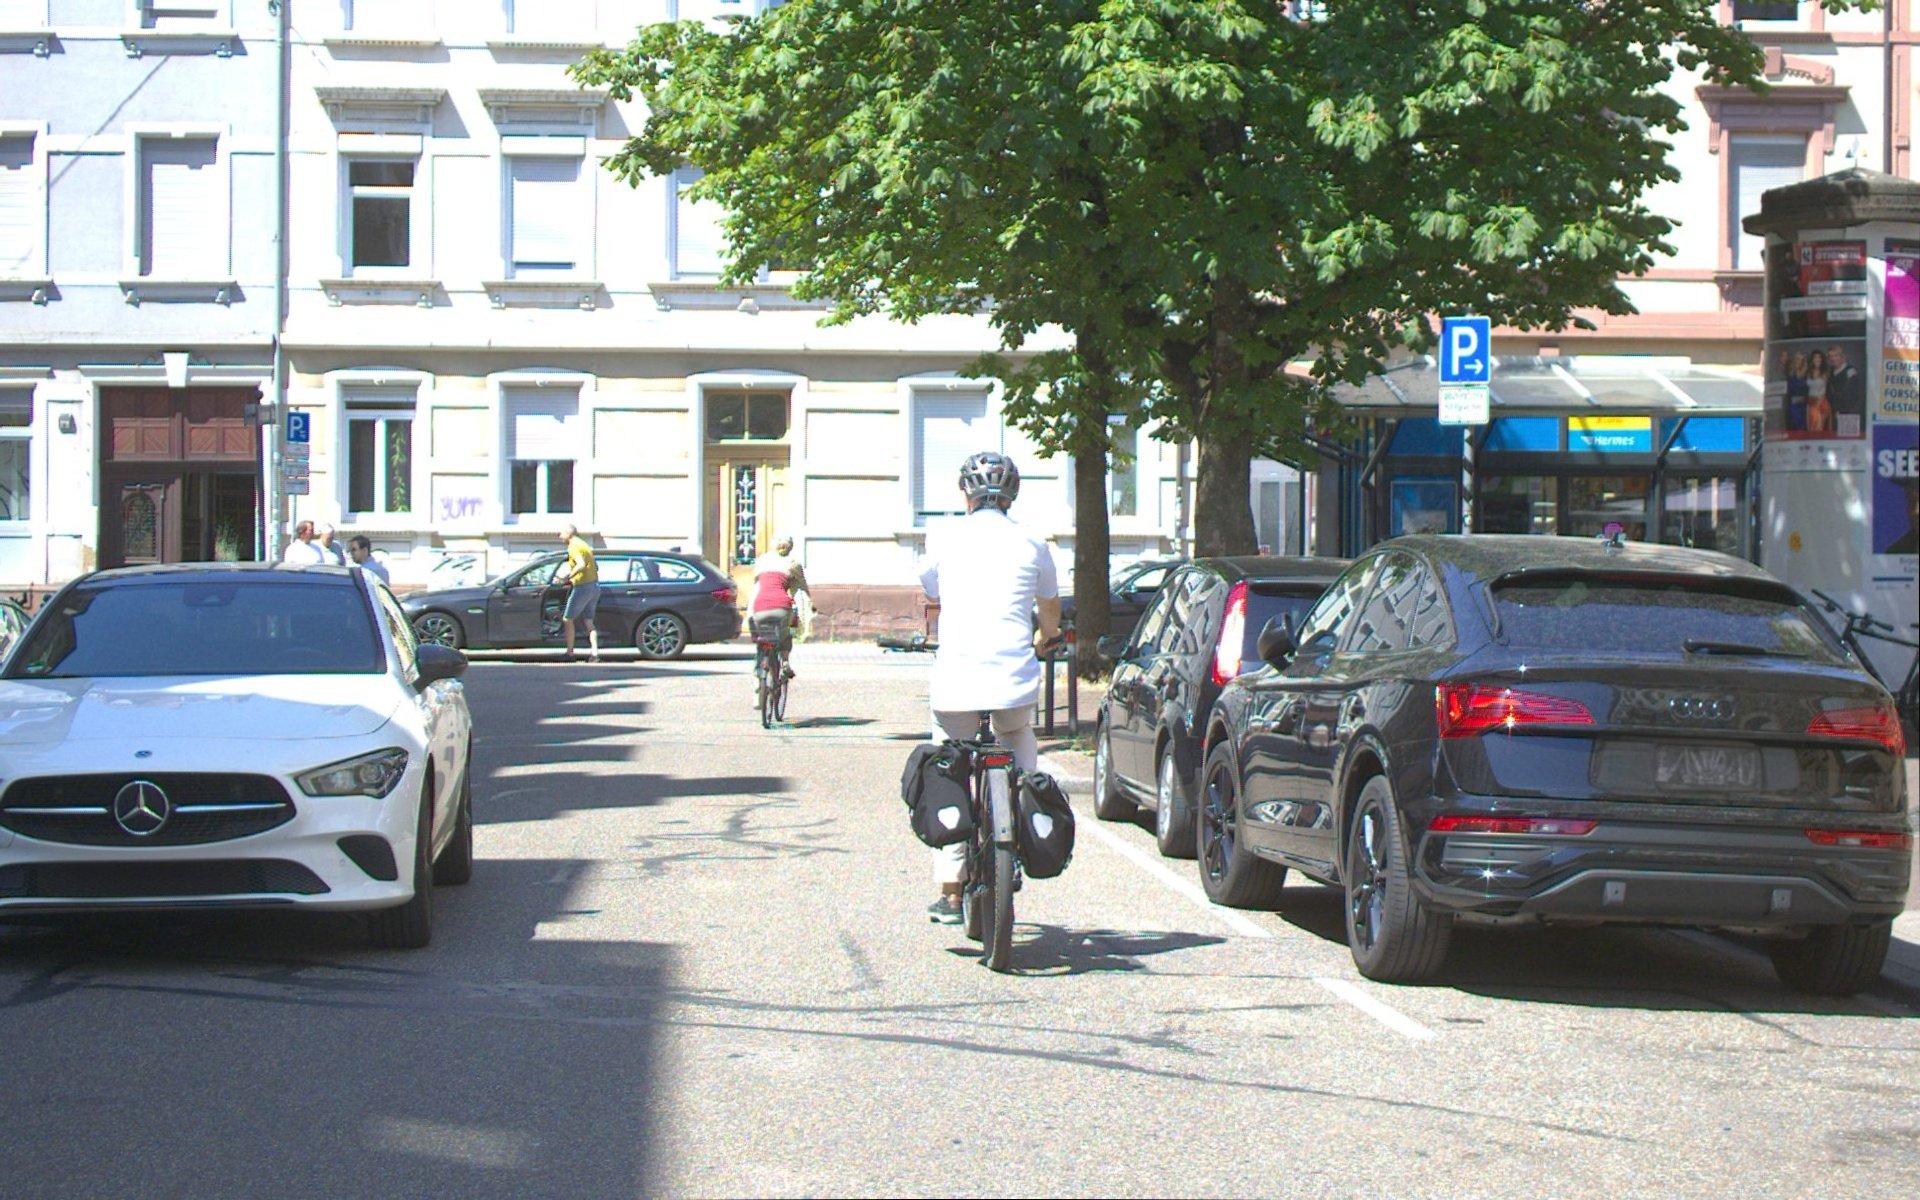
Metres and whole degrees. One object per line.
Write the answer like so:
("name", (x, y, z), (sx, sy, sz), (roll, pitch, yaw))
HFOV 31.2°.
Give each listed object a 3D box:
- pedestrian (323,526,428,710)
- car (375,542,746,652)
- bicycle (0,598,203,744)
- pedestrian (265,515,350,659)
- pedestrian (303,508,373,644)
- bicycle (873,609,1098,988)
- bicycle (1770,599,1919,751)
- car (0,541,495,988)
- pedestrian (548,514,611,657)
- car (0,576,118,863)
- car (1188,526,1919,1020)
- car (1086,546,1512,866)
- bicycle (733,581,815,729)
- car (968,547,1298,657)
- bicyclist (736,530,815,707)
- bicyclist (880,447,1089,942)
("pedestrian", (-5.374, 0.154, 31.640), (0.857, 1.666, 0.774), (0, 1, -3))
("car", (-5.324, -0.057, 46.328), (4.858, 1.432, 2.000), (0, 1, -4))
("bicycle", (-6.388, 0.523, 25.332), (1.524, 1.004, 0.367), (2, 0, -8))
("pedestrian", (-8.634, -0.172, 45.519), (0.850, 1.882, 0.935), (0, 1, 7))
("pedestrian", (-8.405, -0.327, 46.493), (0.901, 1.808, 0.960), (0, 1, -9))
("bicycle", (0.055, 0.677, 12.883), (0.651, 1.224, 2.442), (2, 1, -3))
("bicycle", (6.742, 0.514, 24.250), (1.900, 1.035, 0.634), (-1, 1, -3))
("car", (-2.945, 0.527, 13.750), (1.841, 1.456, 4.363), (-2, 1, -4))
("pedestrian", (-4.989, -0.198, 45.028), (0.724, 1.847, 0.685), (0, 1, -13))
("car", (-5.710, 0.593, 18.434), (1.701, 1.348, 4.516), (-2, 1, -6))
("car", (2.192, 0.543, 13.596), (1.735, 1.591, 4.349), (2, 1, -7))
("car", (1.784, 0.503, 19.351), (1.663, 1.535, 4.178), (2, 1, -4))
("bicycle", (-1.618, 0.455, 30.057), (0.651, 1.205, 2.442), (2, 1, -3))
("car", (2.311, 0.014, 46.724), (4.293, 1.365, 1.807), (0, 3, -4))
("bicyclist", (-1.612, 0.155, 30.091), (0.670, 1.528, 0.609), (0, 1, -3))
("bicyclist", (0.081, 0.335, 12.616), (0.670, 1.754, 0.609), (2, 1, -3))
